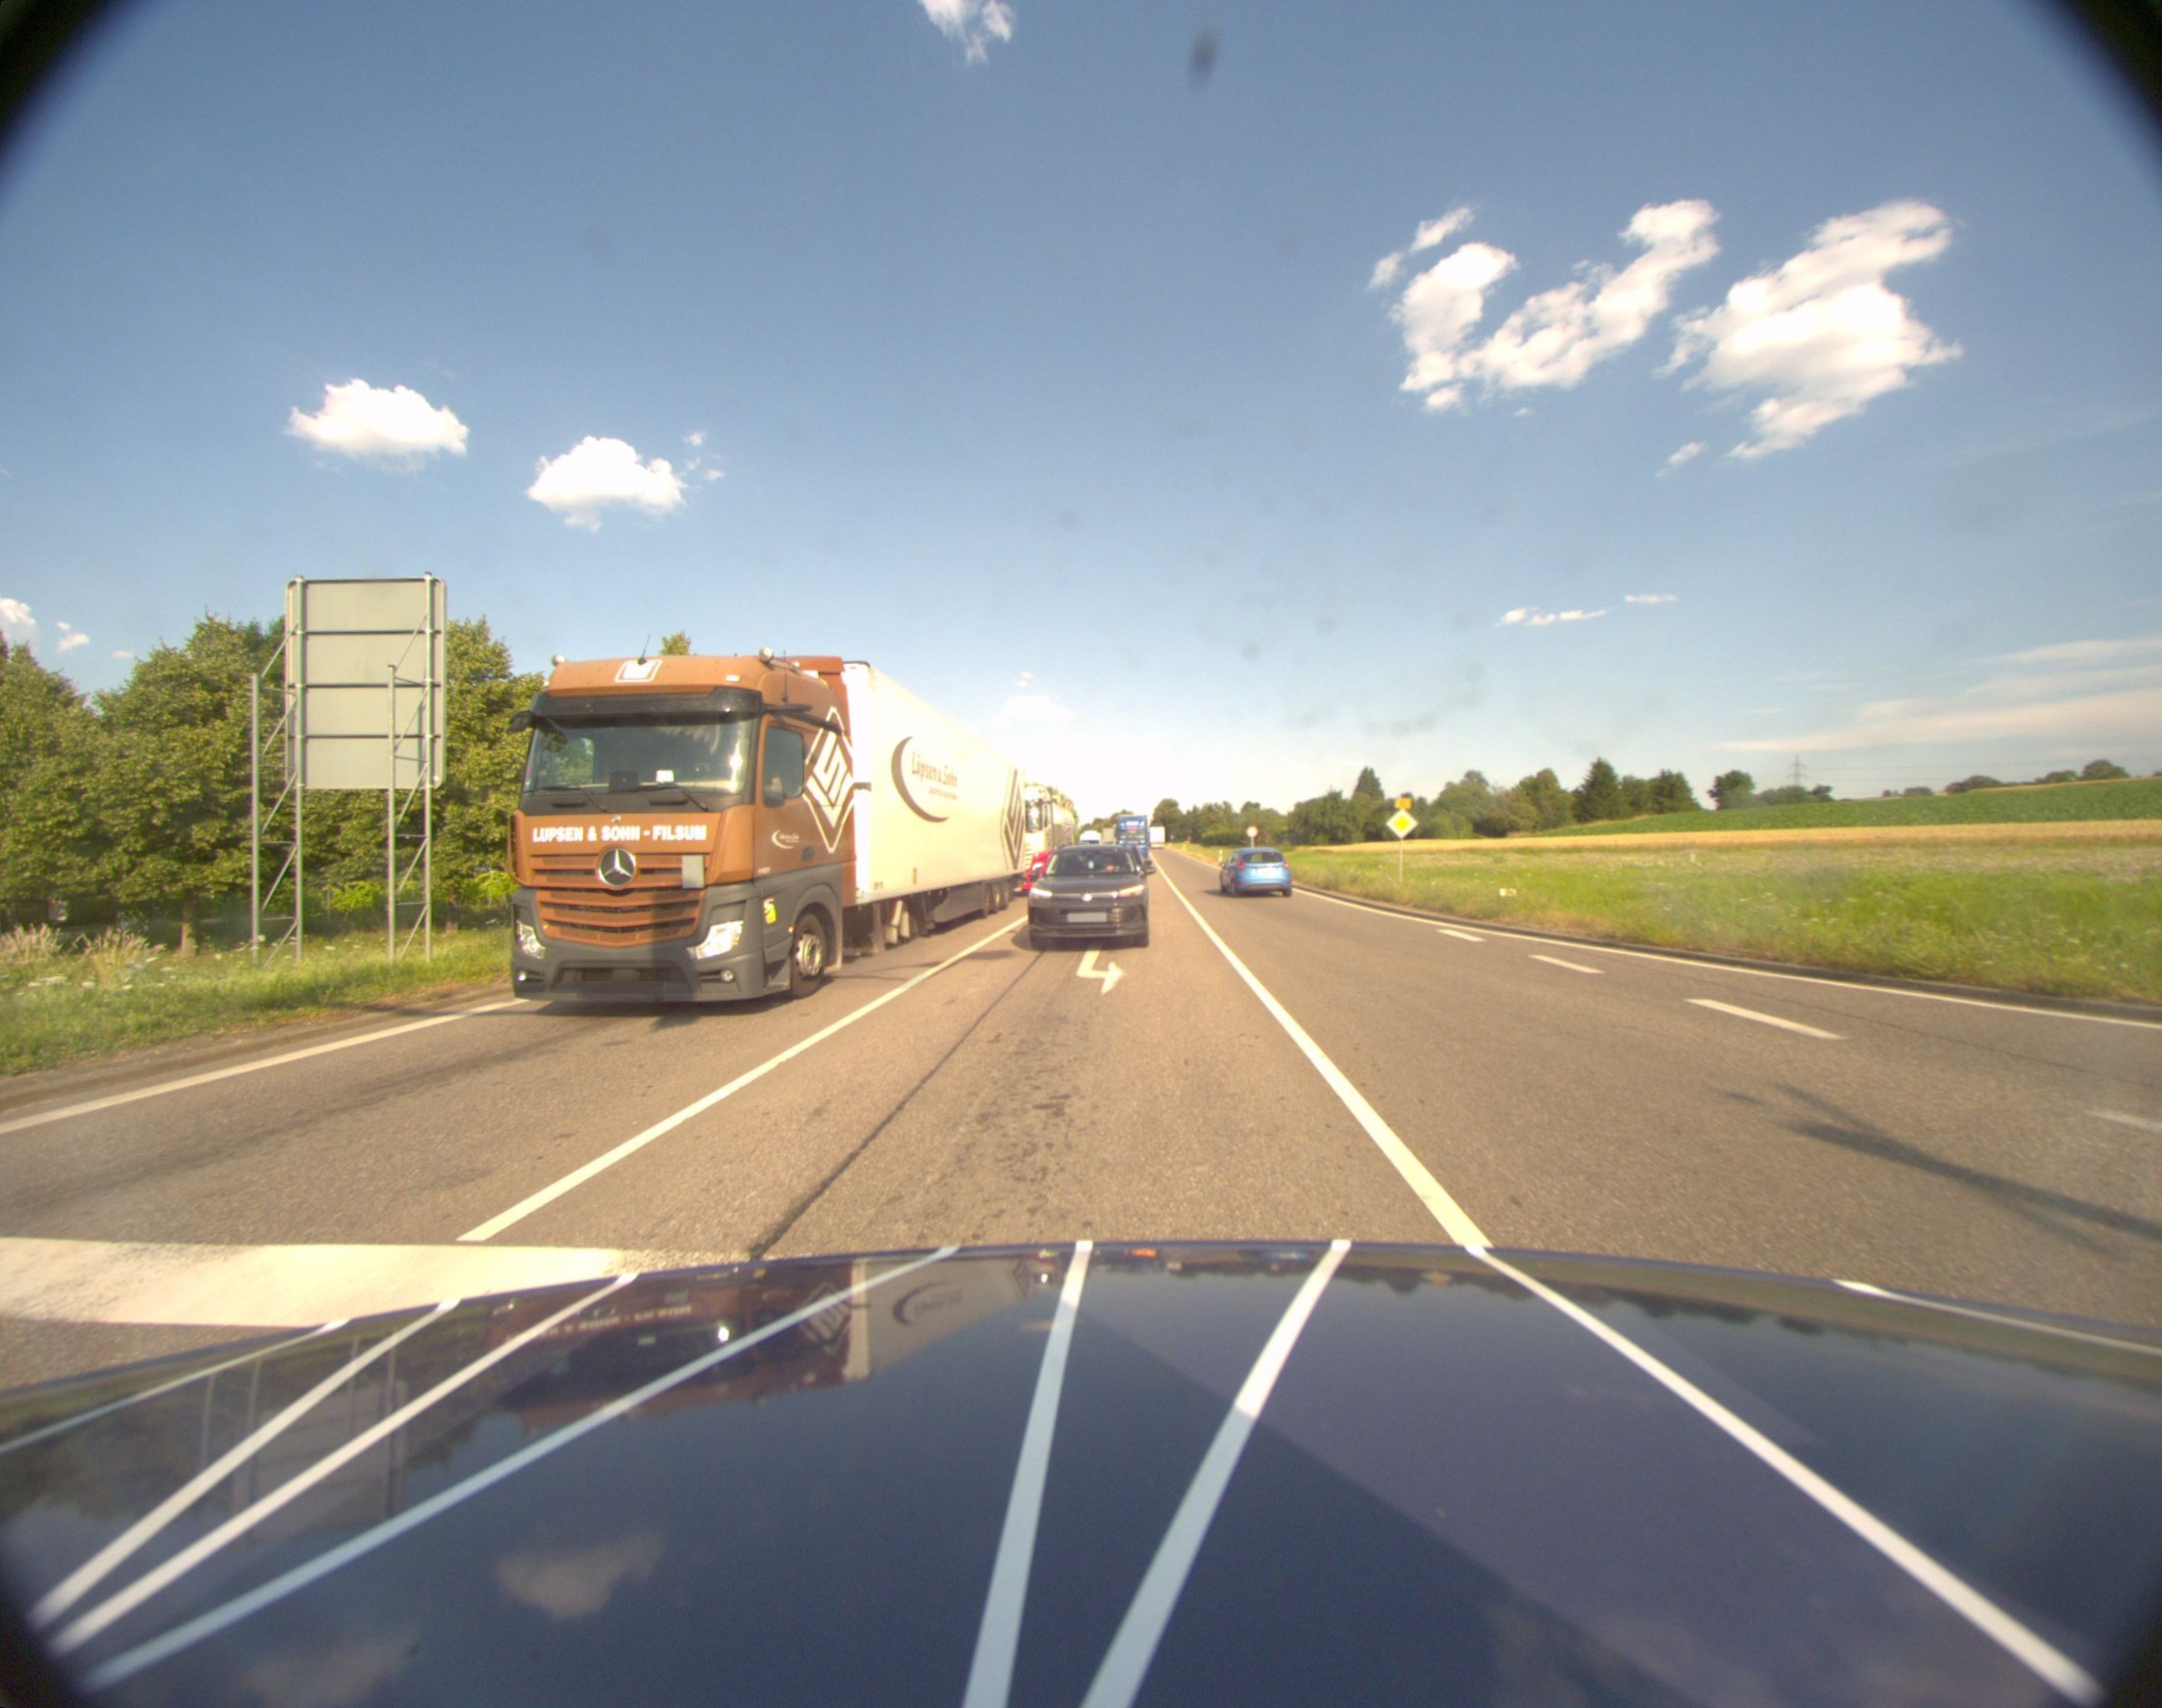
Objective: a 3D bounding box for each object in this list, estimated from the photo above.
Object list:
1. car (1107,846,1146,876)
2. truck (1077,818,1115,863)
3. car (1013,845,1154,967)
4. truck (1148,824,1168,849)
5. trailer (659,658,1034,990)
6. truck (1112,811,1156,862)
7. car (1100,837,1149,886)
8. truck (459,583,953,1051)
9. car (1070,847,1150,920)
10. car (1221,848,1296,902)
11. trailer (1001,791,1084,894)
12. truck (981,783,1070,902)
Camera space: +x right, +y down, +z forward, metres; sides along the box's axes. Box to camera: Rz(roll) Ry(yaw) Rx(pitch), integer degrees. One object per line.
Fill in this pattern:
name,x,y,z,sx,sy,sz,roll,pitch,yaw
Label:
car,2.527,0.358,41.611,1.998,1.477,4.000,-2,1,4
truck,1.560,-1.248,71.644,2.527,3.752,12.901,-2,1,5
car,0.236,0.711,12.841,1.787,1.620,4.470,-2,1,7
truck,14.715,-3.366,145.274,3.448,4.471,9.488,-2,1,4
trailer,-3.377,-0.423,16.624,2.537,4.043,14.339,-2,0,5
truck,4.443,-1.457,63.703,3.372,3.982,5.602,-2,1,4
car,1.932,0.267,33.074,1.906,1.936,4.373,-3,1,5
truck,-3.876,-0.339,10.002,2.537,4.020,6.663,-2,1,5
car,0.874,0.665,19.923,1.774,1.604,4.549,-2,1,6
car,5.301,0.588,23.180,1.762,1.492,4.002,-1,0,6
trailer,-1.425,-0.501,33.150,2.263,3.756,9.526,-3,1,4
truck,-1.848,-0.413,27.553,2.260,3.783,5.686,-2,1,4
